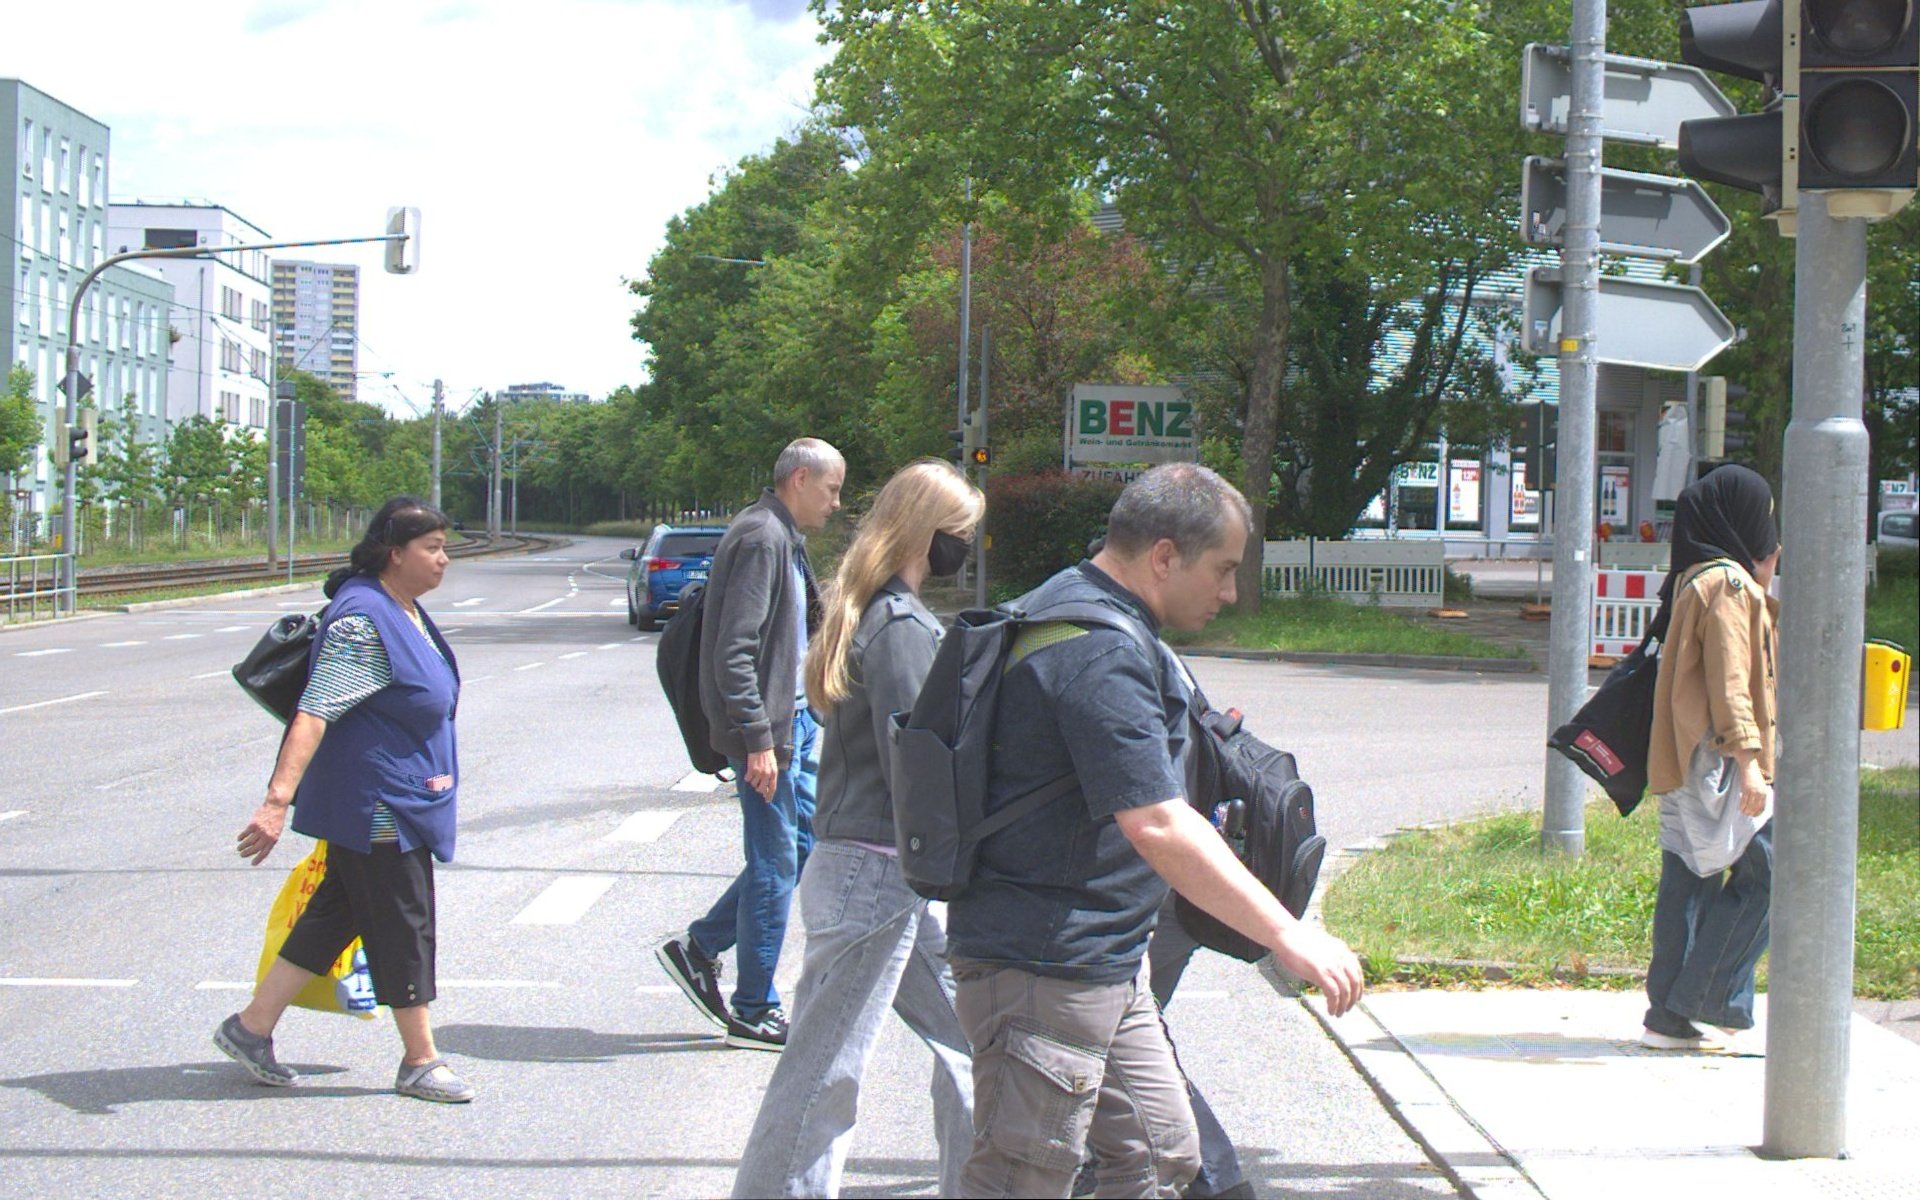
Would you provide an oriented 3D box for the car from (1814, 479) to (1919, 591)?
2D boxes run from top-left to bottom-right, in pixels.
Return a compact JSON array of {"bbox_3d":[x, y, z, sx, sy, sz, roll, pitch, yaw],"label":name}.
[{"bbox_3d":[17.741,-1.184,62.560,1.993,2.007,4.000,0,2,-32],"label":"car"}]

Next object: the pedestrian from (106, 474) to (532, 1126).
[{"bbox_3d":[-1.643,0.484,8.957,0.912,1.601,0.929,1,1,1],"label":"pedestrian"}]

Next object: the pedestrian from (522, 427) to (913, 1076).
[{"bbox_3d":[-0.673,0.402,9.877,1.002,1.767,0.929,1,1,3],"label":"pedestrian"}]

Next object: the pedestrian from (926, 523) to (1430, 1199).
[{"bbox_3d":[0.436,0.616,7.327,0.946,1.547,0.843,0,1,-4],"label":"pedestrian"}]

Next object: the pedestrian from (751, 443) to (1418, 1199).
[{"bbox_3d":[0.176,0.587,5.442,0.958,1.642,0.880,1,1,0],"label":"pedestrian"}]

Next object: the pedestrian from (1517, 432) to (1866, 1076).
[{"bbox_3d":[2.045,0.408,9.717,0.782,1.737,0.828,1,1,0],"label":"pedestrian"}]

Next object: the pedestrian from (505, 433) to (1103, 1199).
[{"bbox_3d":[-0.258,0.527,6.386,1.020,1.642,0.929,1,1,2],"label":"pedestrian"}]

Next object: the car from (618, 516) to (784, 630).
[{"bbox_3d":[-3.644,-0.411,47.697,1.982,1.481,4.492,0,1,-8],"label":"car"}]

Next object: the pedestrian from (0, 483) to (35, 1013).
[{"bbox_3d":[-3.320,0.442,10.233,0.892,1.591,0.908,1,1,0],"label":"pedestrian"}]
